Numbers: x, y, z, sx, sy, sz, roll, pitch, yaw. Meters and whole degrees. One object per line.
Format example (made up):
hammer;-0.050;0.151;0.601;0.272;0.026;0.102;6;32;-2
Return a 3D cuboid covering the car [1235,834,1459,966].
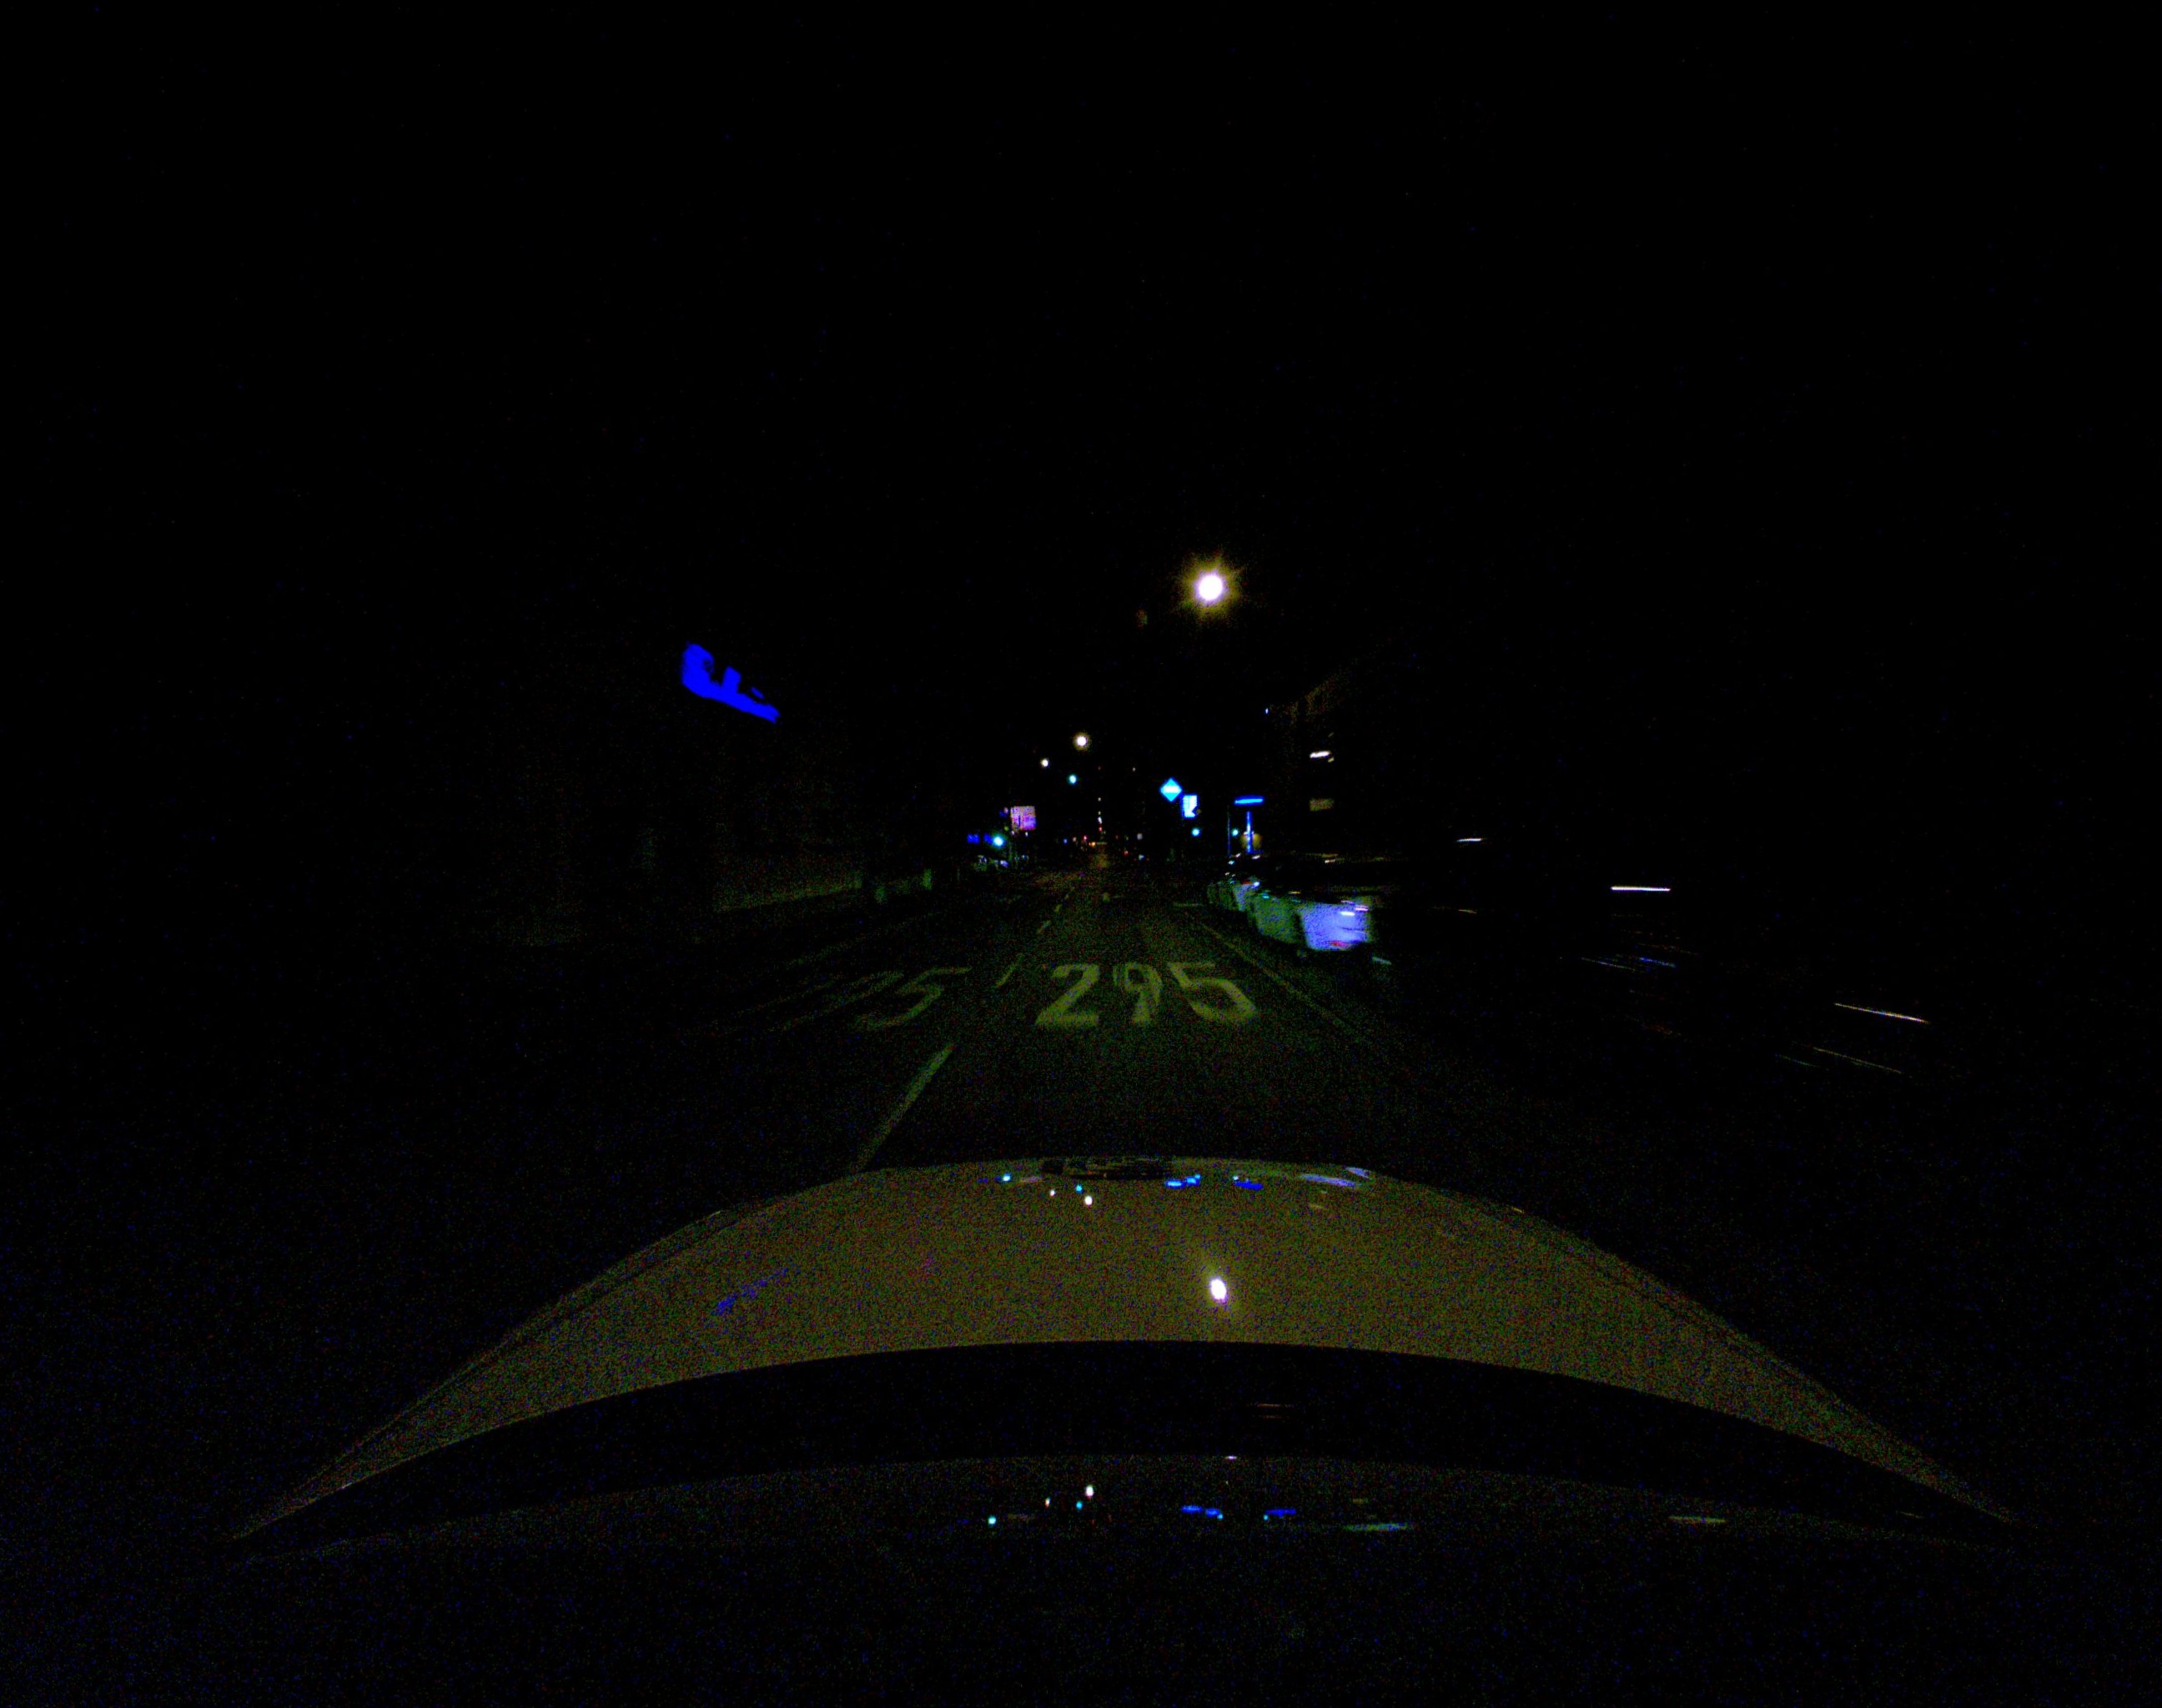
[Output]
car;3.635;0.576;12.080;1.769;1.544;4.544;-1;-1;-1

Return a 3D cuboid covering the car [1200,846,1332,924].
car;3.955;0.635;18.241;1.854;1.489;4.544;-1;-1;-1

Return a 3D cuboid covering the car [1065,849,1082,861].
car;-0.911;0.184;105.003;1.986;1.502;4.001;-1;-1;2

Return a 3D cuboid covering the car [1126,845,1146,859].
car;6.189;-0.229;91.283;1.987;1.596;4.000;-1;0;0

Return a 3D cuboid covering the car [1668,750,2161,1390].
car;3.560;0.503;1.346;1.817;1.588;4.628;-2;0;0

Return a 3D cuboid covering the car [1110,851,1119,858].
car;7.572;0.135;182.439;1.985;1.520;4.003;-1;-1;3

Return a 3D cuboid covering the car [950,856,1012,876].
car;-7.629;0.899;62.595;4.423;1.449;2.000;-1;-1;1

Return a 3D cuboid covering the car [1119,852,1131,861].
car;7.314;0.408;134.821;1.985;1.520;4.003;-1;-1;3

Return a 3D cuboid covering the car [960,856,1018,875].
car;-7.415;0.924;65.900;4.425;1.449;2.000;-1;-1;0

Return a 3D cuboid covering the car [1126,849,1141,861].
car;7.129;0.099;110.230;1.985;1.520;4.003;-1;-1;3

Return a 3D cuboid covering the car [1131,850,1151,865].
car;6.348;0.313;86.155;1.985;1.516;4.003;-1;0;3

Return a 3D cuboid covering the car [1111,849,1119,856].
car;8.660;-0.376;205.451;1.985;1.520;4.003;-1;-1;3

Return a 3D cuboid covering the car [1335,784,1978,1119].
car;3.631;0.487;6.376;1.818;1.623;4.456;-2;0;-1

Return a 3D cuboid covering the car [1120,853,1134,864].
car;6.605;0.684;117.891;1.985;1.520;4.003;-1;-1;3
